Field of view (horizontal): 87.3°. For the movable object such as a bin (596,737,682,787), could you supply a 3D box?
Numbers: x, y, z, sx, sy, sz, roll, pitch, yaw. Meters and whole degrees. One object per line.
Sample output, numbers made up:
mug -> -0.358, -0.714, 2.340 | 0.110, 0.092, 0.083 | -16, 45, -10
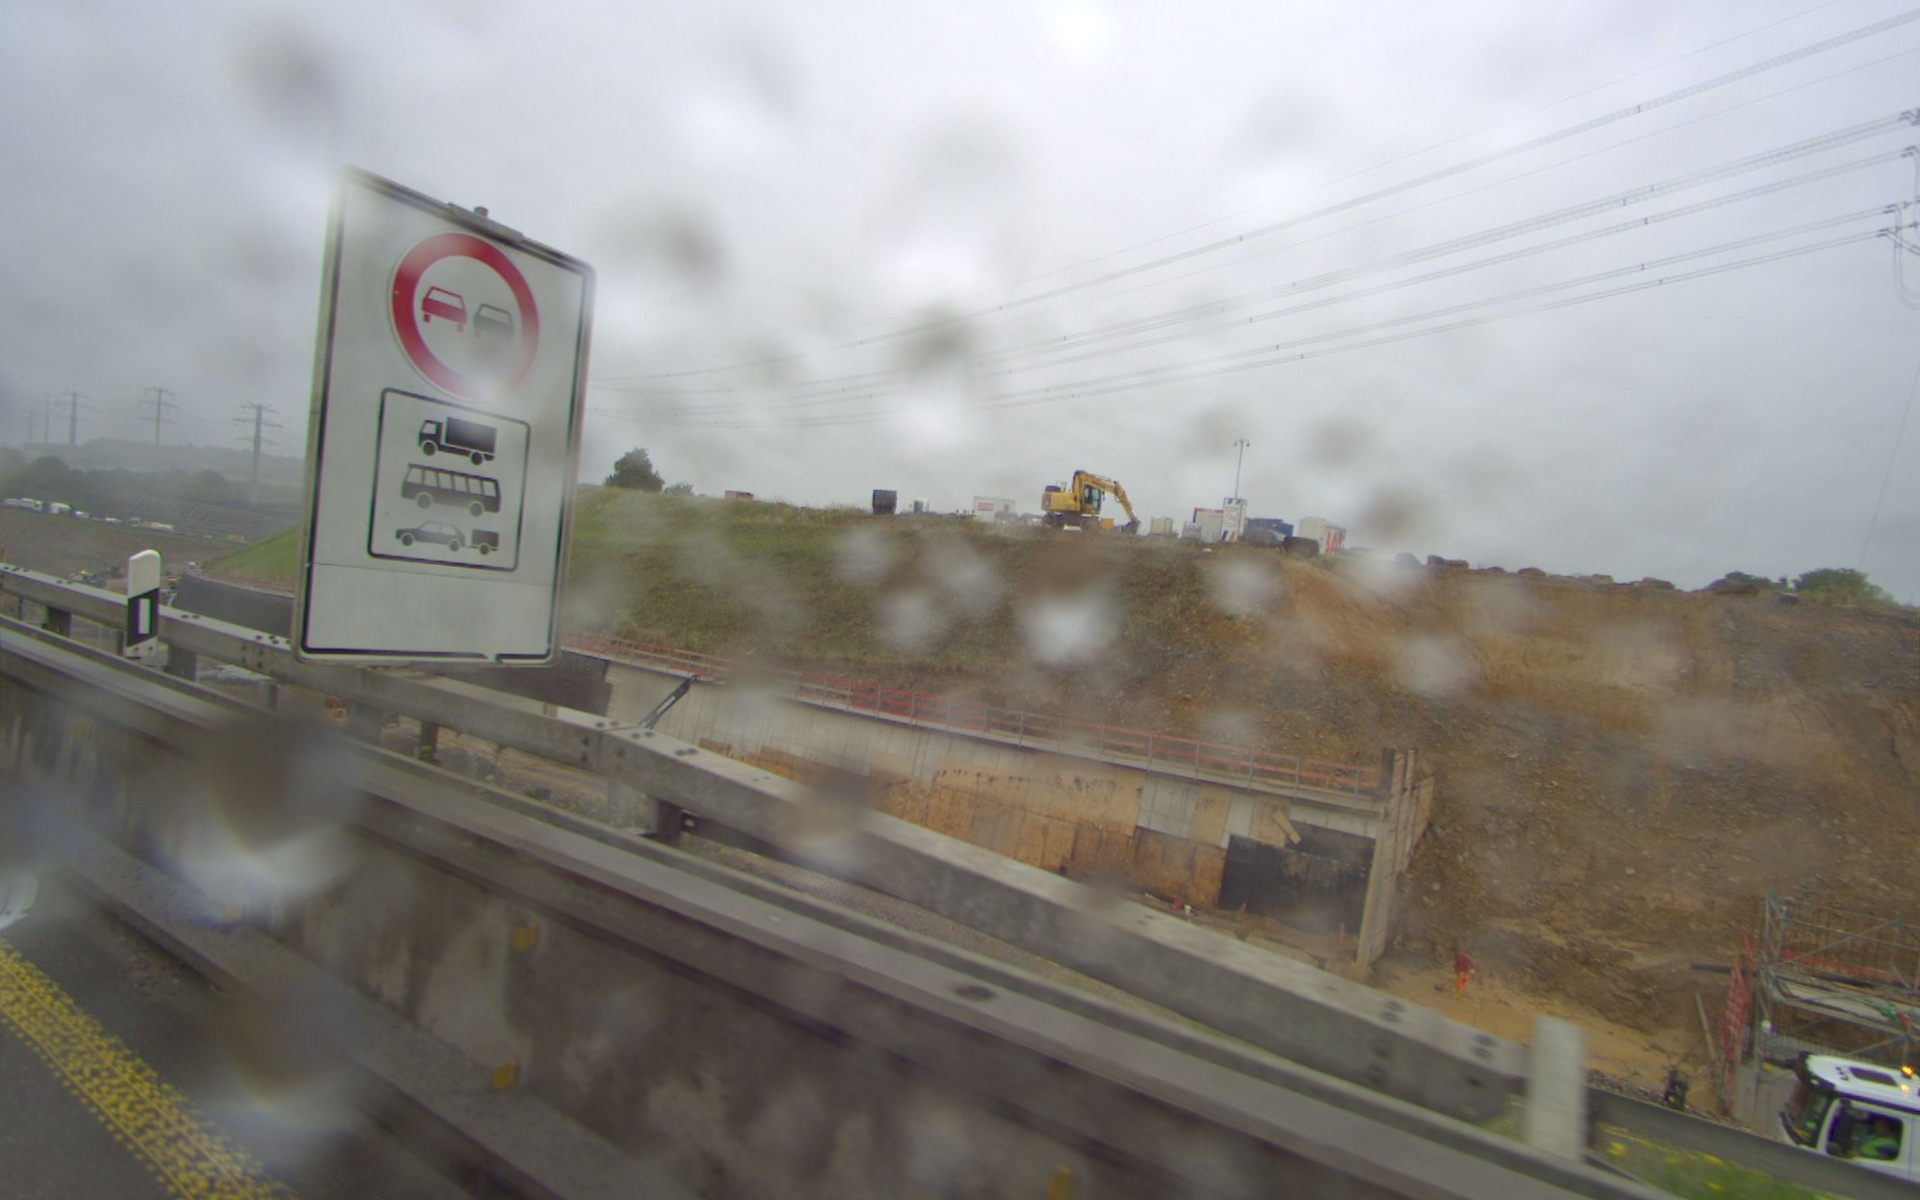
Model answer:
movable object such as a bin -> -16.357, 8.203, 51.276 | 3.203, 1.932, 2.522 | 6, -3, 32

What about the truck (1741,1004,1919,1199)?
truck -> 17.725, 9.628, 15.183 | 8.931, 3.658, 2.702 | 5, 1, 34

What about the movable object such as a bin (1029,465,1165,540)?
movable object such as a bin -> 8.939, -6.485, 66.311 | 8.057, 4.260, 3.096 | 7, 1, 39

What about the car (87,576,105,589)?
car -> -149.019, -3.072, 173.425 | 1.988, 1.837, 3.950 | 8, -1, -44

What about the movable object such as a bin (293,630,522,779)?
movable object such as a bin -> -27.130, 4.913, 49.064 | 11.914, 5.731, 4.897 | 3, -4, 38

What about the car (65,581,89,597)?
car -> -138.809, -1.756, 158.110 | 3.947, 2.037, 2.361 | 6, -2, 44
